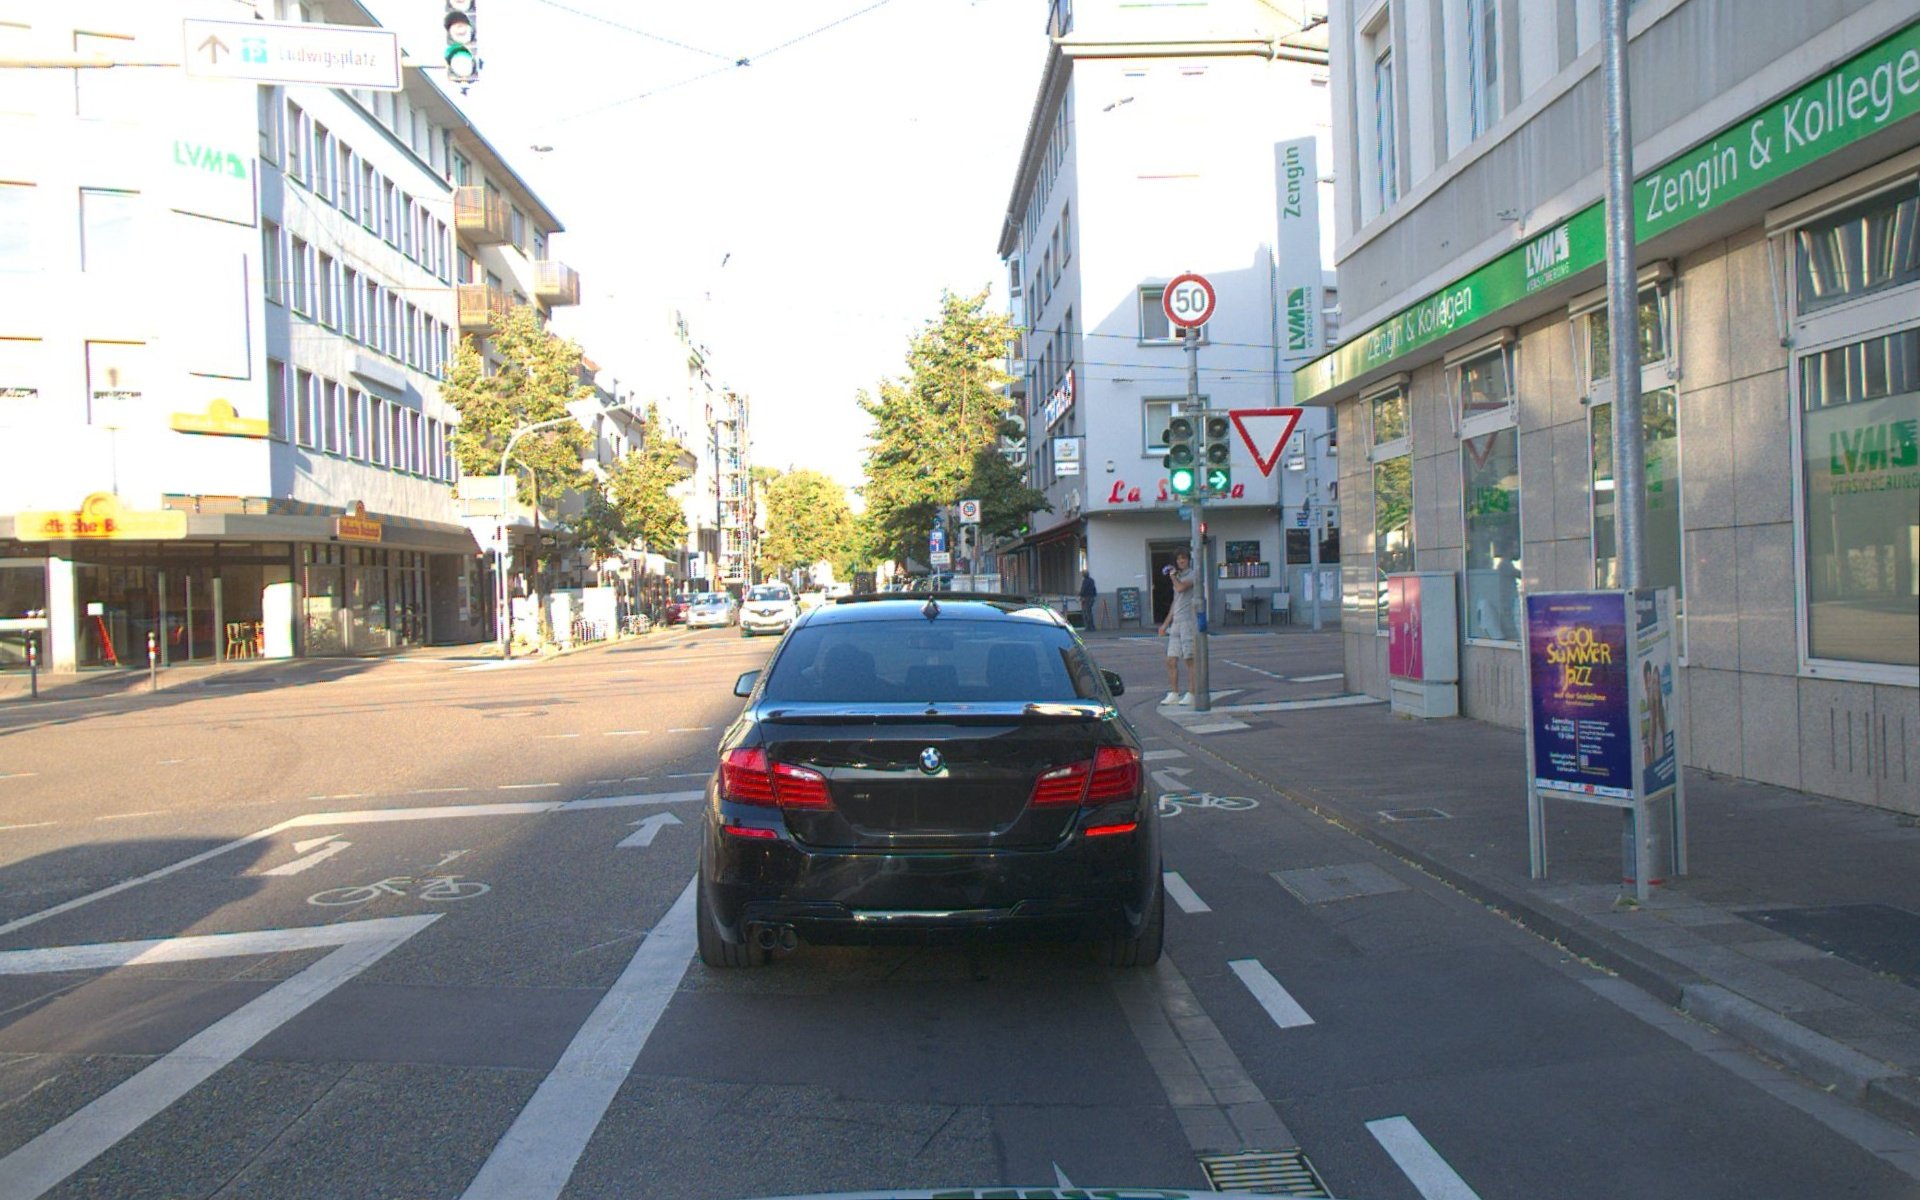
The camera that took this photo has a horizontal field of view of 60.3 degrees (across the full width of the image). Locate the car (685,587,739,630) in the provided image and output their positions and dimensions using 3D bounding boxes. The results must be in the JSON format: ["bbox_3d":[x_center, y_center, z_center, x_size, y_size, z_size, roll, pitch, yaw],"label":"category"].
[{"bbox_3d":[-9.955,0.344,66.602,1.799,1.583,3.777,-3,0,-4],"label":"car"}]

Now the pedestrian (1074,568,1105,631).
[{"bbox_3d":[3.559,-0.027,45.520,0.697,1.705,0.703,-2,1,-3],"label":"pedestrian"}]

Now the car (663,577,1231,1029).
[{"bbox_3d":[-0.087,0.673,7.832,1.914,1.524,4.464,0,0,-1],"label":"car"}]

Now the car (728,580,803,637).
[{"bbox_3d":[-5.979,0.252,51.242,2.067,1.583,4.009,-3,0,-4],"label":"car"}]

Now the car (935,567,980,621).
[{"bbox_3d":[-0.088,-0.246,61.378,1.606,1.906,3.607,1,1,0],"label":"car"}]

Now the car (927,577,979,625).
[{"bbox_3d":[-0.212,0.005,54.703,1.606,1.469,3.607,-2,0,0],"label":"car"}]

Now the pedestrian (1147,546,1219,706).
[{"bbox_3d":[2.532,0.288,18.838,0.639,1.772,0.693,-2,0,-4],"label":"pedestrian"}]

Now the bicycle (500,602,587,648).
[{"bbox_3d":[-11.895,0.712,47.275,2.322,1.275,0.639,0,0,-7],"label":"bicycle"}]

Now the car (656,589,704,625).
[{"bbox_3d":[-13.291,0.335,78.653,1.799,1.583,3.777,-3,0,-4],"label":"car"}]
